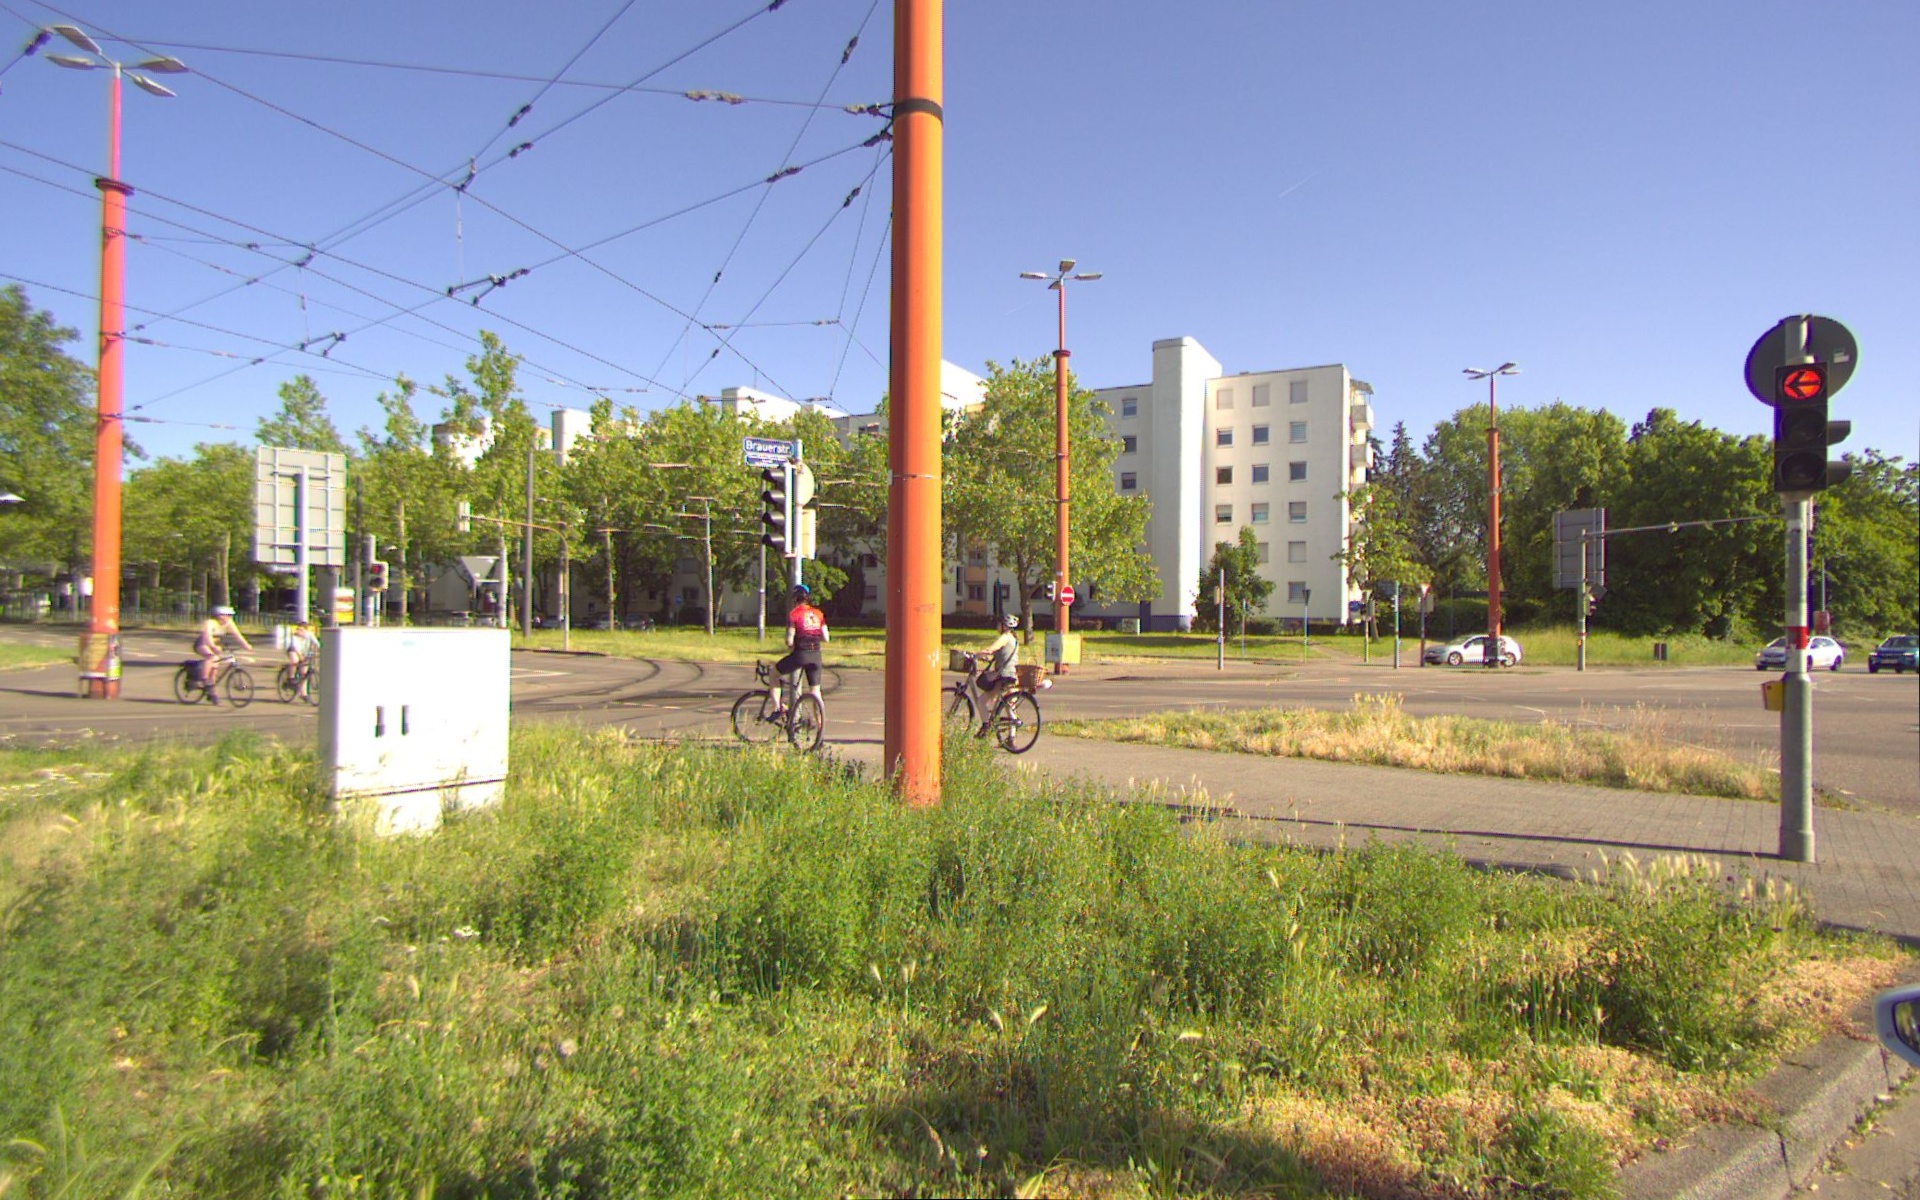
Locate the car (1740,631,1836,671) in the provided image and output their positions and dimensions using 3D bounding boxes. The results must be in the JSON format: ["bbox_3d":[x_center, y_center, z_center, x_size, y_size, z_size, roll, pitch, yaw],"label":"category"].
[{"bbox_3d":[35.142,2.153,42.607,4.075,1.594,1.983,1,-1,-32],"label":"car"}]

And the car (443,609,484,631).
[{"bbox_3d":[-42.677,1.702,86.447,1.963,1.840,3.995,1,-1,-8],"label":"car"}]

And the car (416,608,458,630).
[{"bbox_3d":[-46.026,1.678,88.476,1.963,1.840,3.995,1,-1,-8],"label":"car"}]

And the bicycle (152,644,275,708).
[{"bbox_3d":[-14.031,1.411,18.896,1.849,1.102,0.928,0,-1,18],"label":"bicycle"}]

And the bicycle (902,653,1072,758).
[{"bbox_3d":[0.313,1.226,12.122,1.855,1.102,0.925,0,-1,34],"label":"bicycle"}]

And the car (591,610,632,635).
[{"bbox_3d":[-26.113,1.689,75.329,1.962,1.840,3.997,1,-1,-5],"label":"car"}]

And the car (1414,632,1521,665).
[{"bbox_3d":[23.689,2.243,46.951,4.142,1.471,1.798,1,-1,-6],"label":"car"}]

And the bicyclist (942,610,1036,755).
[{"bbox_3d":[0.357,0.956,12.098,0.728,1.659,0.931,0,-1,35],"label":"bicyclist"}]

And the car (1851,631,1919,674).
[{"bbox_3d":[37.265,2.040,39.866,4.079,1.594,1.981,2,-1,-35],"label":"car"}]

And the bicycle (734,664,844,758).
[{"bbox_3d":[-2.117,1.307,12.236,0.915,0.976,1.747,1,-1,-24],"label":"bicycle"}]

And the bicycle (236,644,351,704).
[{"bbox_3d":[-13.253,1.442,19.980,1.849,1.102,0.928,0,-1,18],"label":"bicycle"}]

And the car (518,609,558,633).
[{"bbox_3d":[-33.812,1.673,80.528,1.963,1.840,3.995,1,-1,-8],"label":"car"}]

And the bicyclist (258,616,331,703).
[{"bbox_3d":[-13.214,1.161,19.969,0.726,1.659,0.934,0,-1,18],"label":"bicyclist"}]

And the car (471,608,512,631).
[{"bbox_3d":[-39.288,1.644,84.326,1.963,1.840,3.995,1,-1,-8],"label":"car"}]

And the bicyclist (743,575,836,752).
[{"bbox_3d":[-2.068,0.747,12.140,0.921,2.040,0.736,1,-1,-25],"label":"bicyclist"}]

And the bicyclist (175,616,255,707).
[{"bbox_3d":[-14.004,1.133,18.897,0.726,1.659,0.934,0,-1,18],"label":"bicyclist"}]

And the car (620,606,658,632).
[{"bbox_3d":[-23.406,1.401,73.417,1.963,1.840,3.995,1,-1,-8],"label":"car"}]

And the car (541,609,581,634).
[{"bbox_3d":[-31.196,1.678,78.678,1.963,1.840,3.995,1,-1,-8],"label":"car"}]
